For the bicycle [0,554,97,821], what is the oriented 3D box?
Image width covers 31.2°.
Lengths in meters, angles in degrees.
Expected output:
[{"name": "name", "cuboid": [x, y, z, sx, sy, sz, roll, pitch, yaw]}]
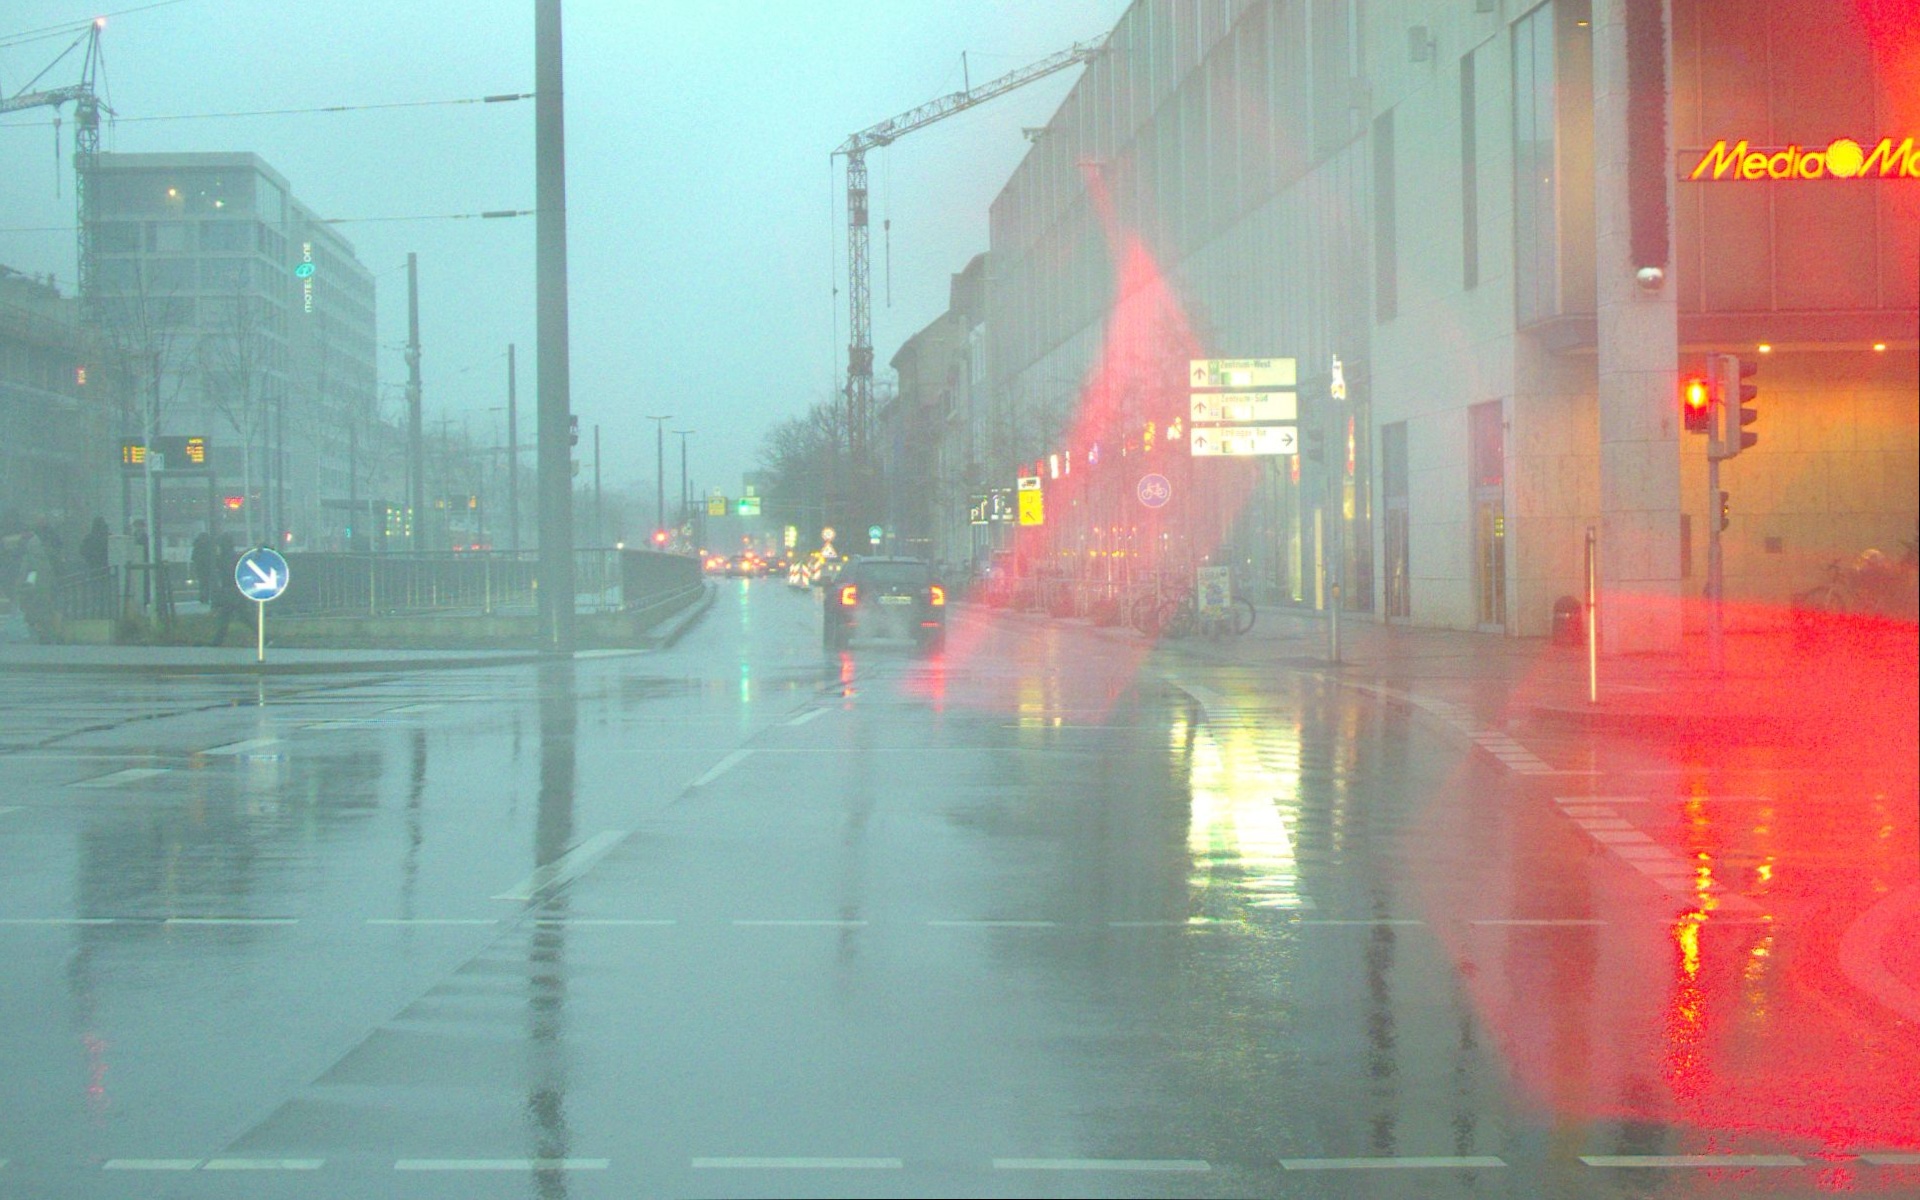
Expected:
[{"name": "bicycle", "cuboid": [-5.939, 0.423, 17.688, 2.830, 1.357, 0.721, 1, 0, -9]}]

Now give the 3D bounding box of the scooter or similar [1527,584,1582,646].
[{"name": "scooter or similar", "cuboid": [8.870, 0.223, 51.281, 0.741, 0.913, 0.400, -1, 1, 1]}]

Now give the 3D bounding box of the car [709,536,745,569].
[{"name": "car", "cuboid": [-14.763, -2.987, 217.834, 1.993, 2.007, 4.000, 1, 0, -1]}]

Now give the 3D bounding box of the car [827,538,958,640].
[{"name": "car", "cuboid": [-1.105, -0.189, 54.509, 1.974, 1.525, 4.000, -1, 1, -2]}]

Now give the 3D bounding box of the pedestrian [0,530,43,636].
[{"name": "pedestrian", "cuboid": [-14.547, -0.267, 52.979, 0.611, 1.613, 0.709, -1, 1, -1]}]

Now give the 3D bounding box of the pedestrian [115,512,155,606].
[{"name": "pedestrian", "cuboid": [-15.373, -0.762, 64.057, 0.660, 1.740, 0.621, -1, 1, -11]}]

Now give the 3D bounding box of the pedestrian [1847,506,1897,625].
[{"name": "pedestrian", "cuboid": [13.203, -0.496, 49.774, 0.536, 1.712, 0.501, 0, 1, 37]}]

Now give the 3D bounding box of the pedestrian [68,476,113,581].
[{"name": "pedestrian", "cuboid": [-14.548, -1.198, 57.549, 0.619, 1.740, 0.613, -1, 1, -6]}]

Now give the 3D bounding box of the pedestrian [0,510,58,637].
[{"name": "pedestrian", "cuboid": [-13.019, -0.374, 47.913, 0.703, 1.754, 0.652, -1, 1, -2]}]

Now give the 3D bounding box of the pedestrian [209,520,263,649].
[{"name": "pedestrian", "cuboid": [-10.010, -0.212, 47.543, 0.633, 1.766, 0.484, -1, 1, -2]}]

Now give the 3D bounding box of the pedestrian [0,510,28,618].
[{"name": "pedestrian", "cuboid": [-15.488, -0.579, 55.722, 0.660, 1.740, 0.736, -1, 1, -11]}]

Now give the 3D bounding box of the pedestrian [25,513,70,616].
[{"name": "pedestrian", "cuboid": [-15.517, -0.604, 58.483, 0.611, 1.740, 0.621, -1, 1, -6]}]
